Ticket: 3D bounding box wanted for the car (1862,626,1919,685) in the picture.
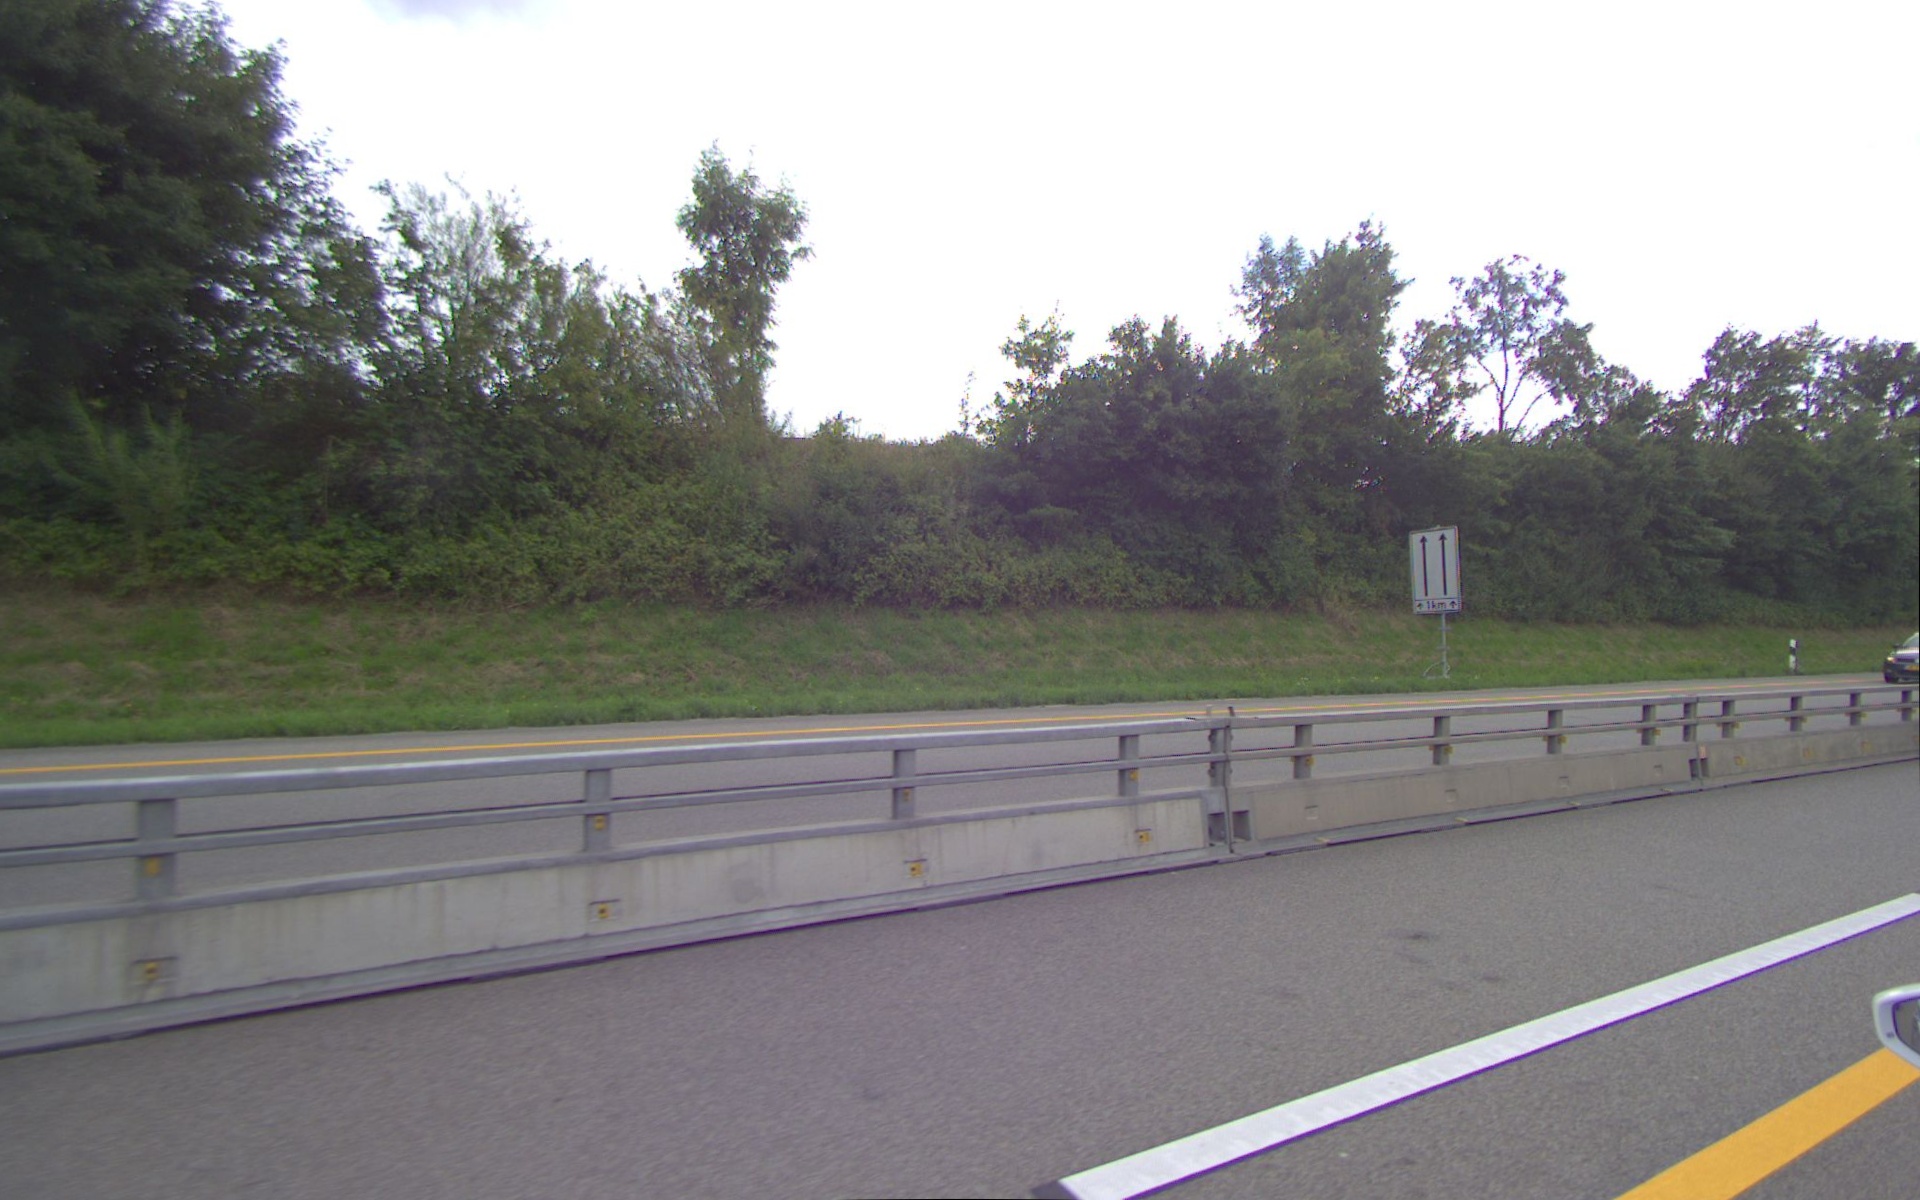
[{"bbox_3d":[25.717,1.464,26.594,3.743,1.459,1.660,1,0,-30],"label":"car"}]
